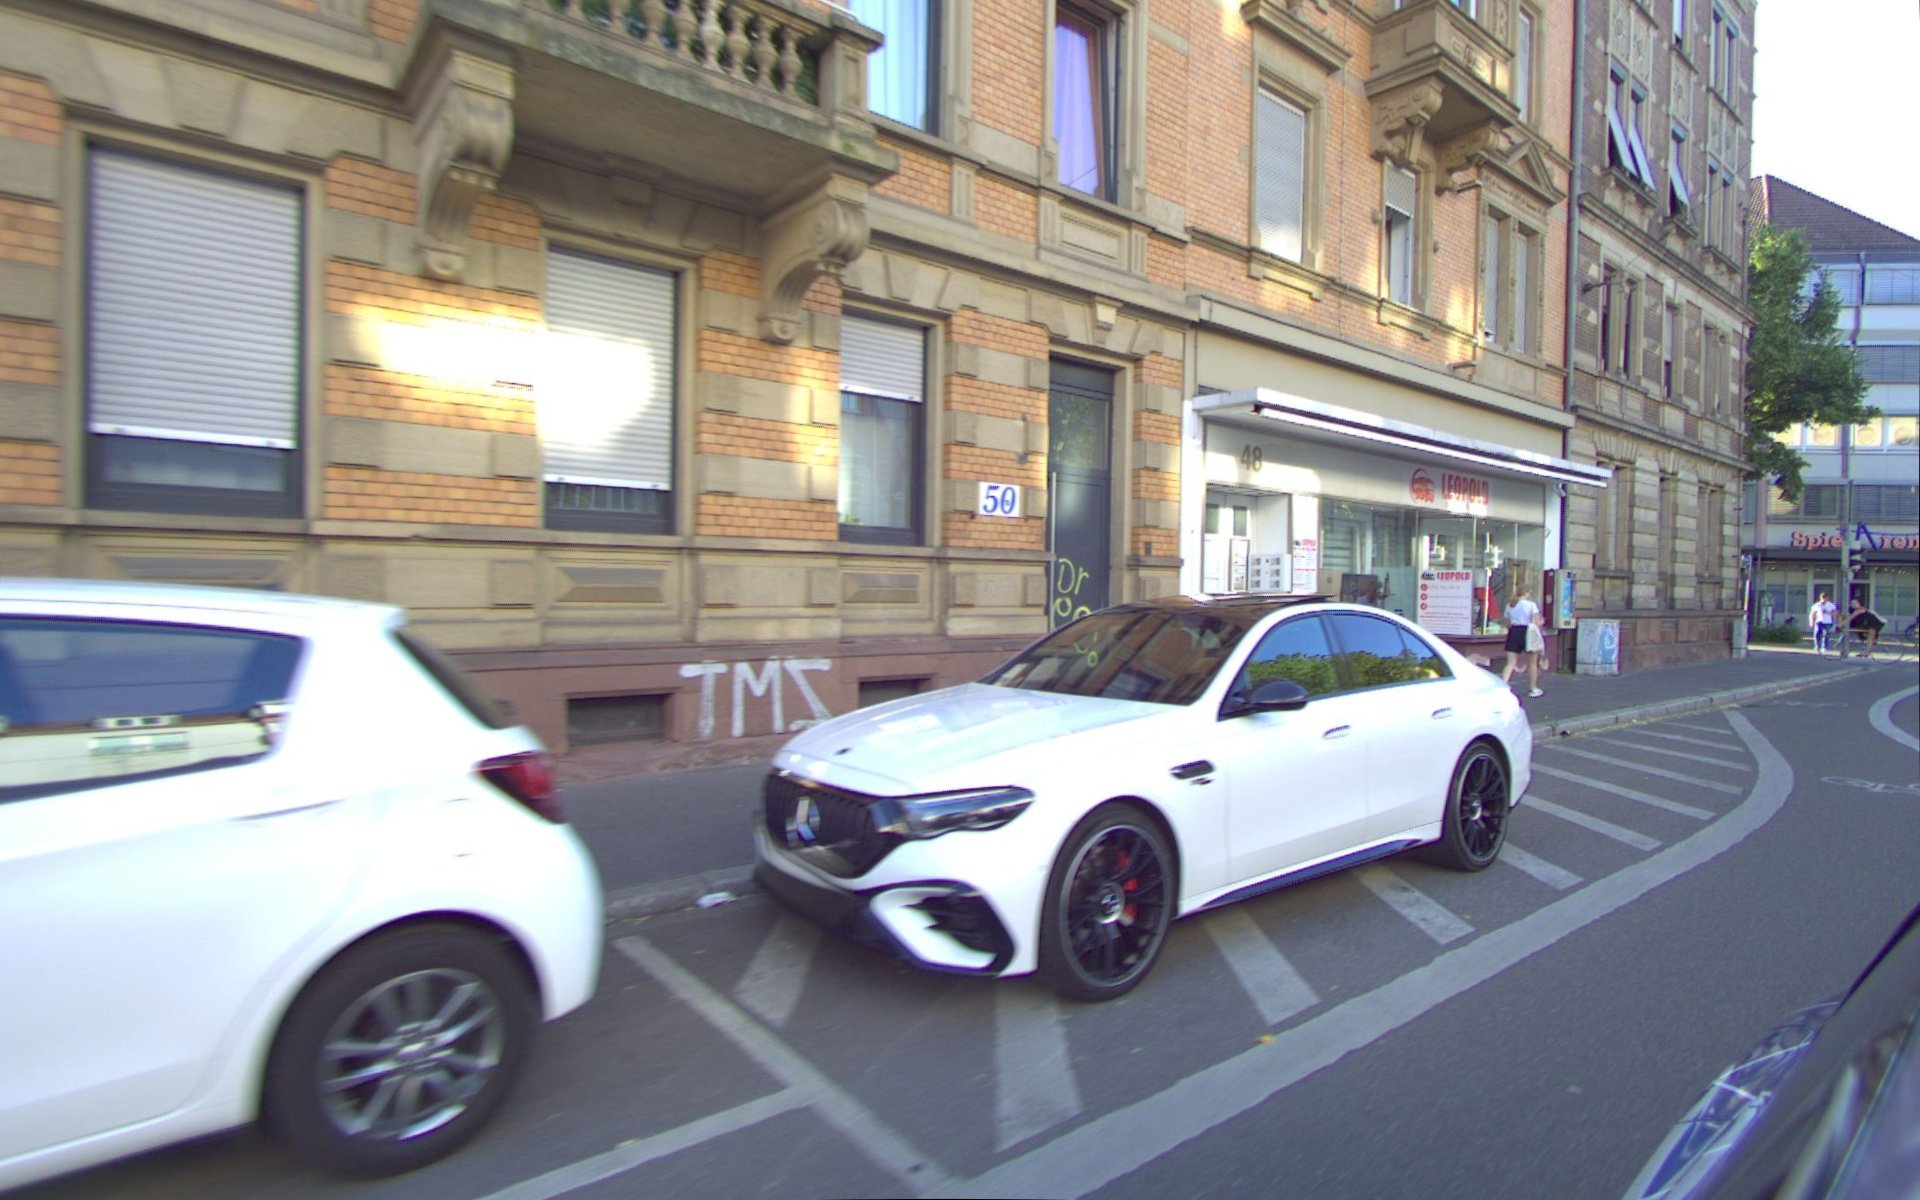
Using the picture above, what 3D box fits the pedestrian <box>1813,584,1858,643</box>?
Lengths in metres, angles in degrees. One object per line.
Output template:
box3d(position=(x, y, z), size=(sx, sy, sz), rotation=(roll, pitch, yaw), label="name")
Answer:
box3d(position=(25.916, 0.399, 29.957), size=(1.014, 1.687, 0.785), rotation=(3, -1, -38), label="pedestrian")

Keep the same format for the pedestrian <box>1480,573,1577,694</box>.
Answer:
box3d(position=(7.947, 0.441, 14.146), size=(0.896, 1.585, 0.779), rotation=(1, 4, -36), label="pedestrian")

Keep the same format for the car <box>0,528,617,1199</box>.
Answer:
box3d(position=(-3.011, 0.612, 2.292), size=(3.892, 1.515, 1.733), rotation=(0, 0, -41), label="car")

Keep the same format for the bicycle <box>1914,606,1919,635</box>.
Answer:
box3d(position=(36.138, 0.766, 36.970), size=(0.698, 1.067, 1.837), rotation=(0, 1, -41), label="bicycle")

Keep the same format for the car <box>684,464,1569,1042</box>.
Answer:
box3d(position=(1.192, 0.460, 5.408), size=(4.786, 1.794, 1.971), rotation=(0, 0, -38), label="car")
